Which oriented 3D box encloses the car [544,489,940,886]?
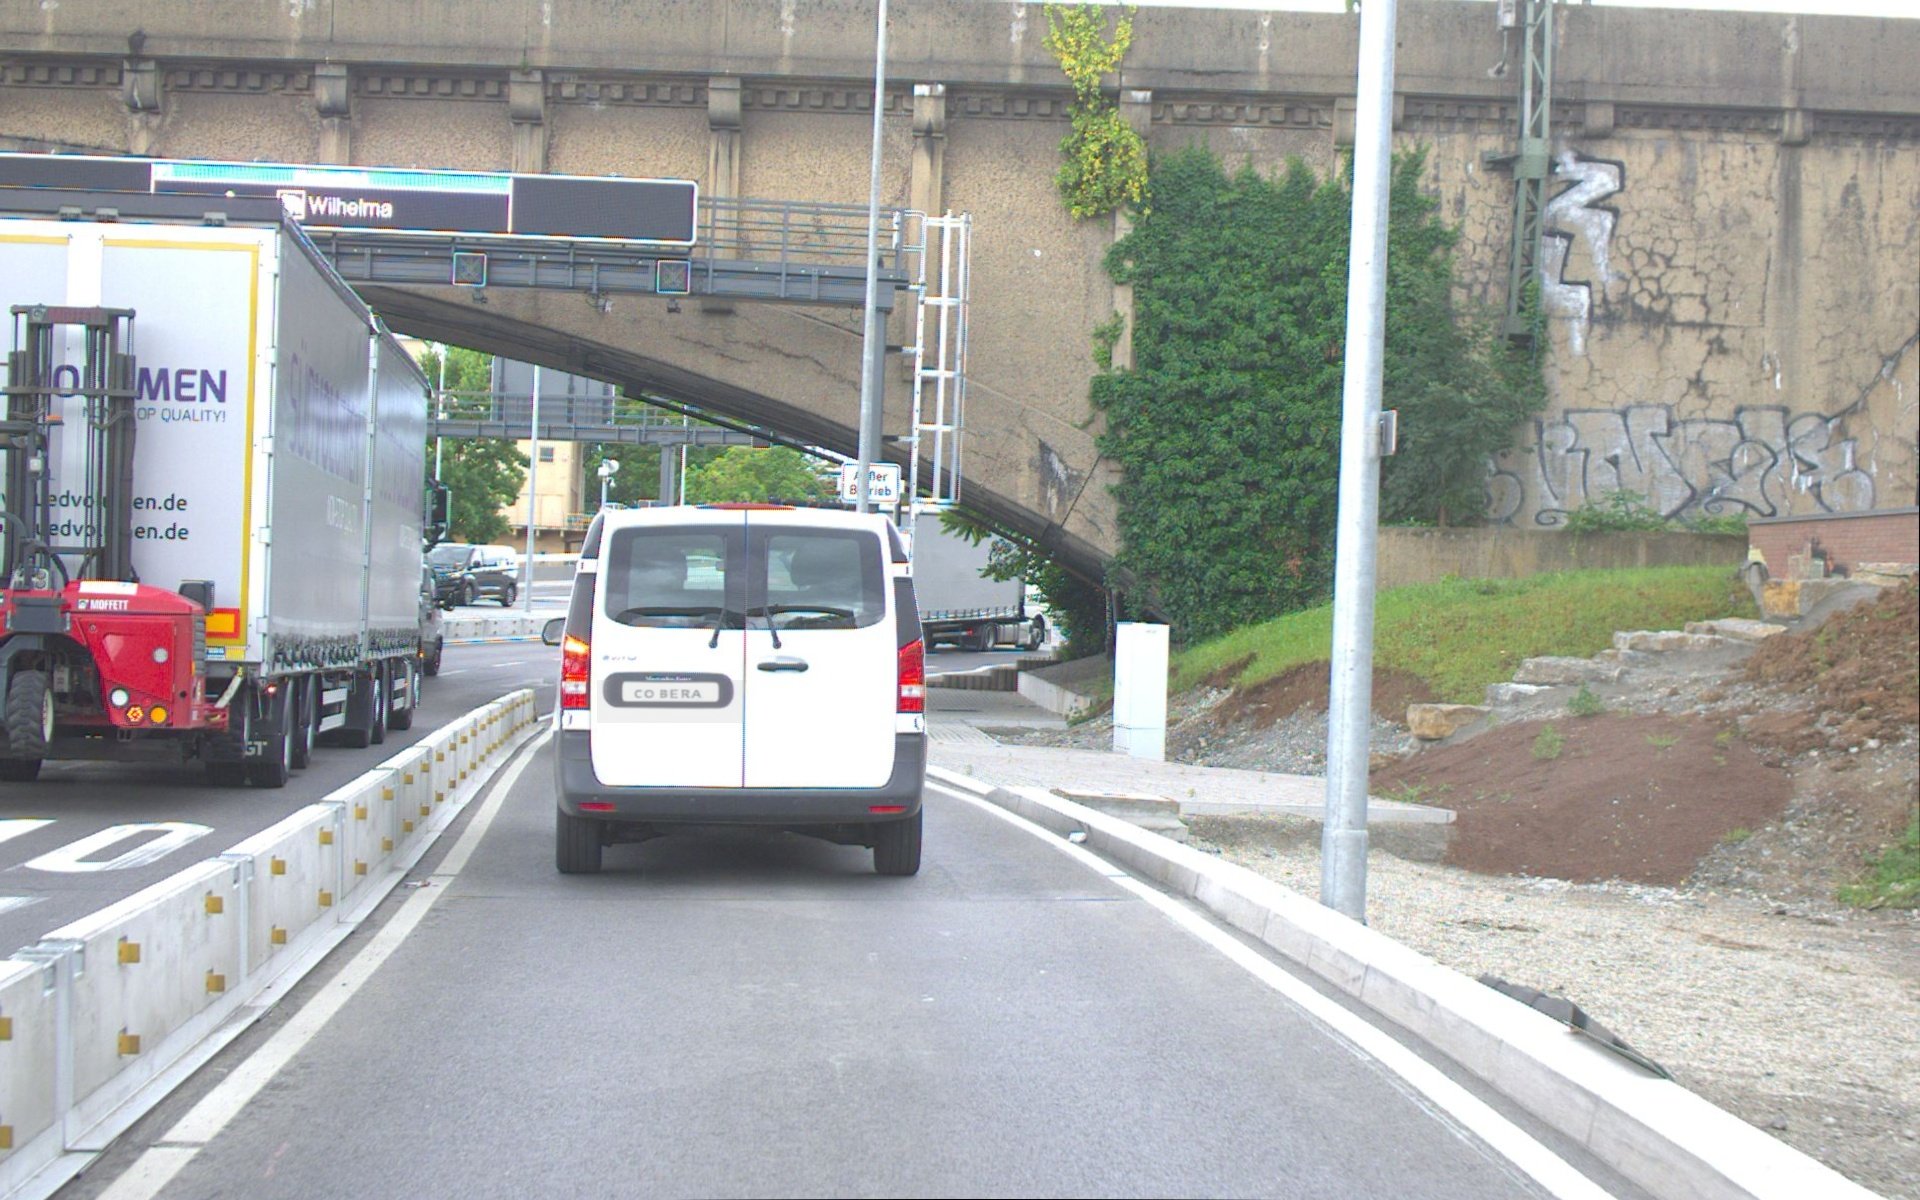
[{"bbox_3d":[-1.252,0.427,18.970,1.876,1.884,4.754,1,0,-5],"label":"car"}]

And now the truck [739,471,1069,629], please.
[{"bbox_3d":[-1.210,-1.226,96.036,3.320,3.796,16.575,4,1,20],"label":"truck"}]

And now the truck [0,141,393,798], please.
[{"bbox_3d":[-6.294,-0.776,26.444,2.917,4.003,10.202,3,-1,-5],"label":"truck"}]

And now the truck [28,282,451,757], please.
[{"bbox_3d":[-7.364,-0.601,36.849,2.987,4.162,11.241,3,-2,-5],"label":"truck"}]

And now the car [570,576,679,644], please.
[{"bbox_3d":[-8.306,0.229,85.378,1.758,1.546,3.999,2,1,8],"label":"car"}]

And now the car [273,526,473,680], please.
[{"bbox_3d":[-10.537,0.032,62.126,1.994,2.533,5.173,4,1,7],"label":"car"}]
